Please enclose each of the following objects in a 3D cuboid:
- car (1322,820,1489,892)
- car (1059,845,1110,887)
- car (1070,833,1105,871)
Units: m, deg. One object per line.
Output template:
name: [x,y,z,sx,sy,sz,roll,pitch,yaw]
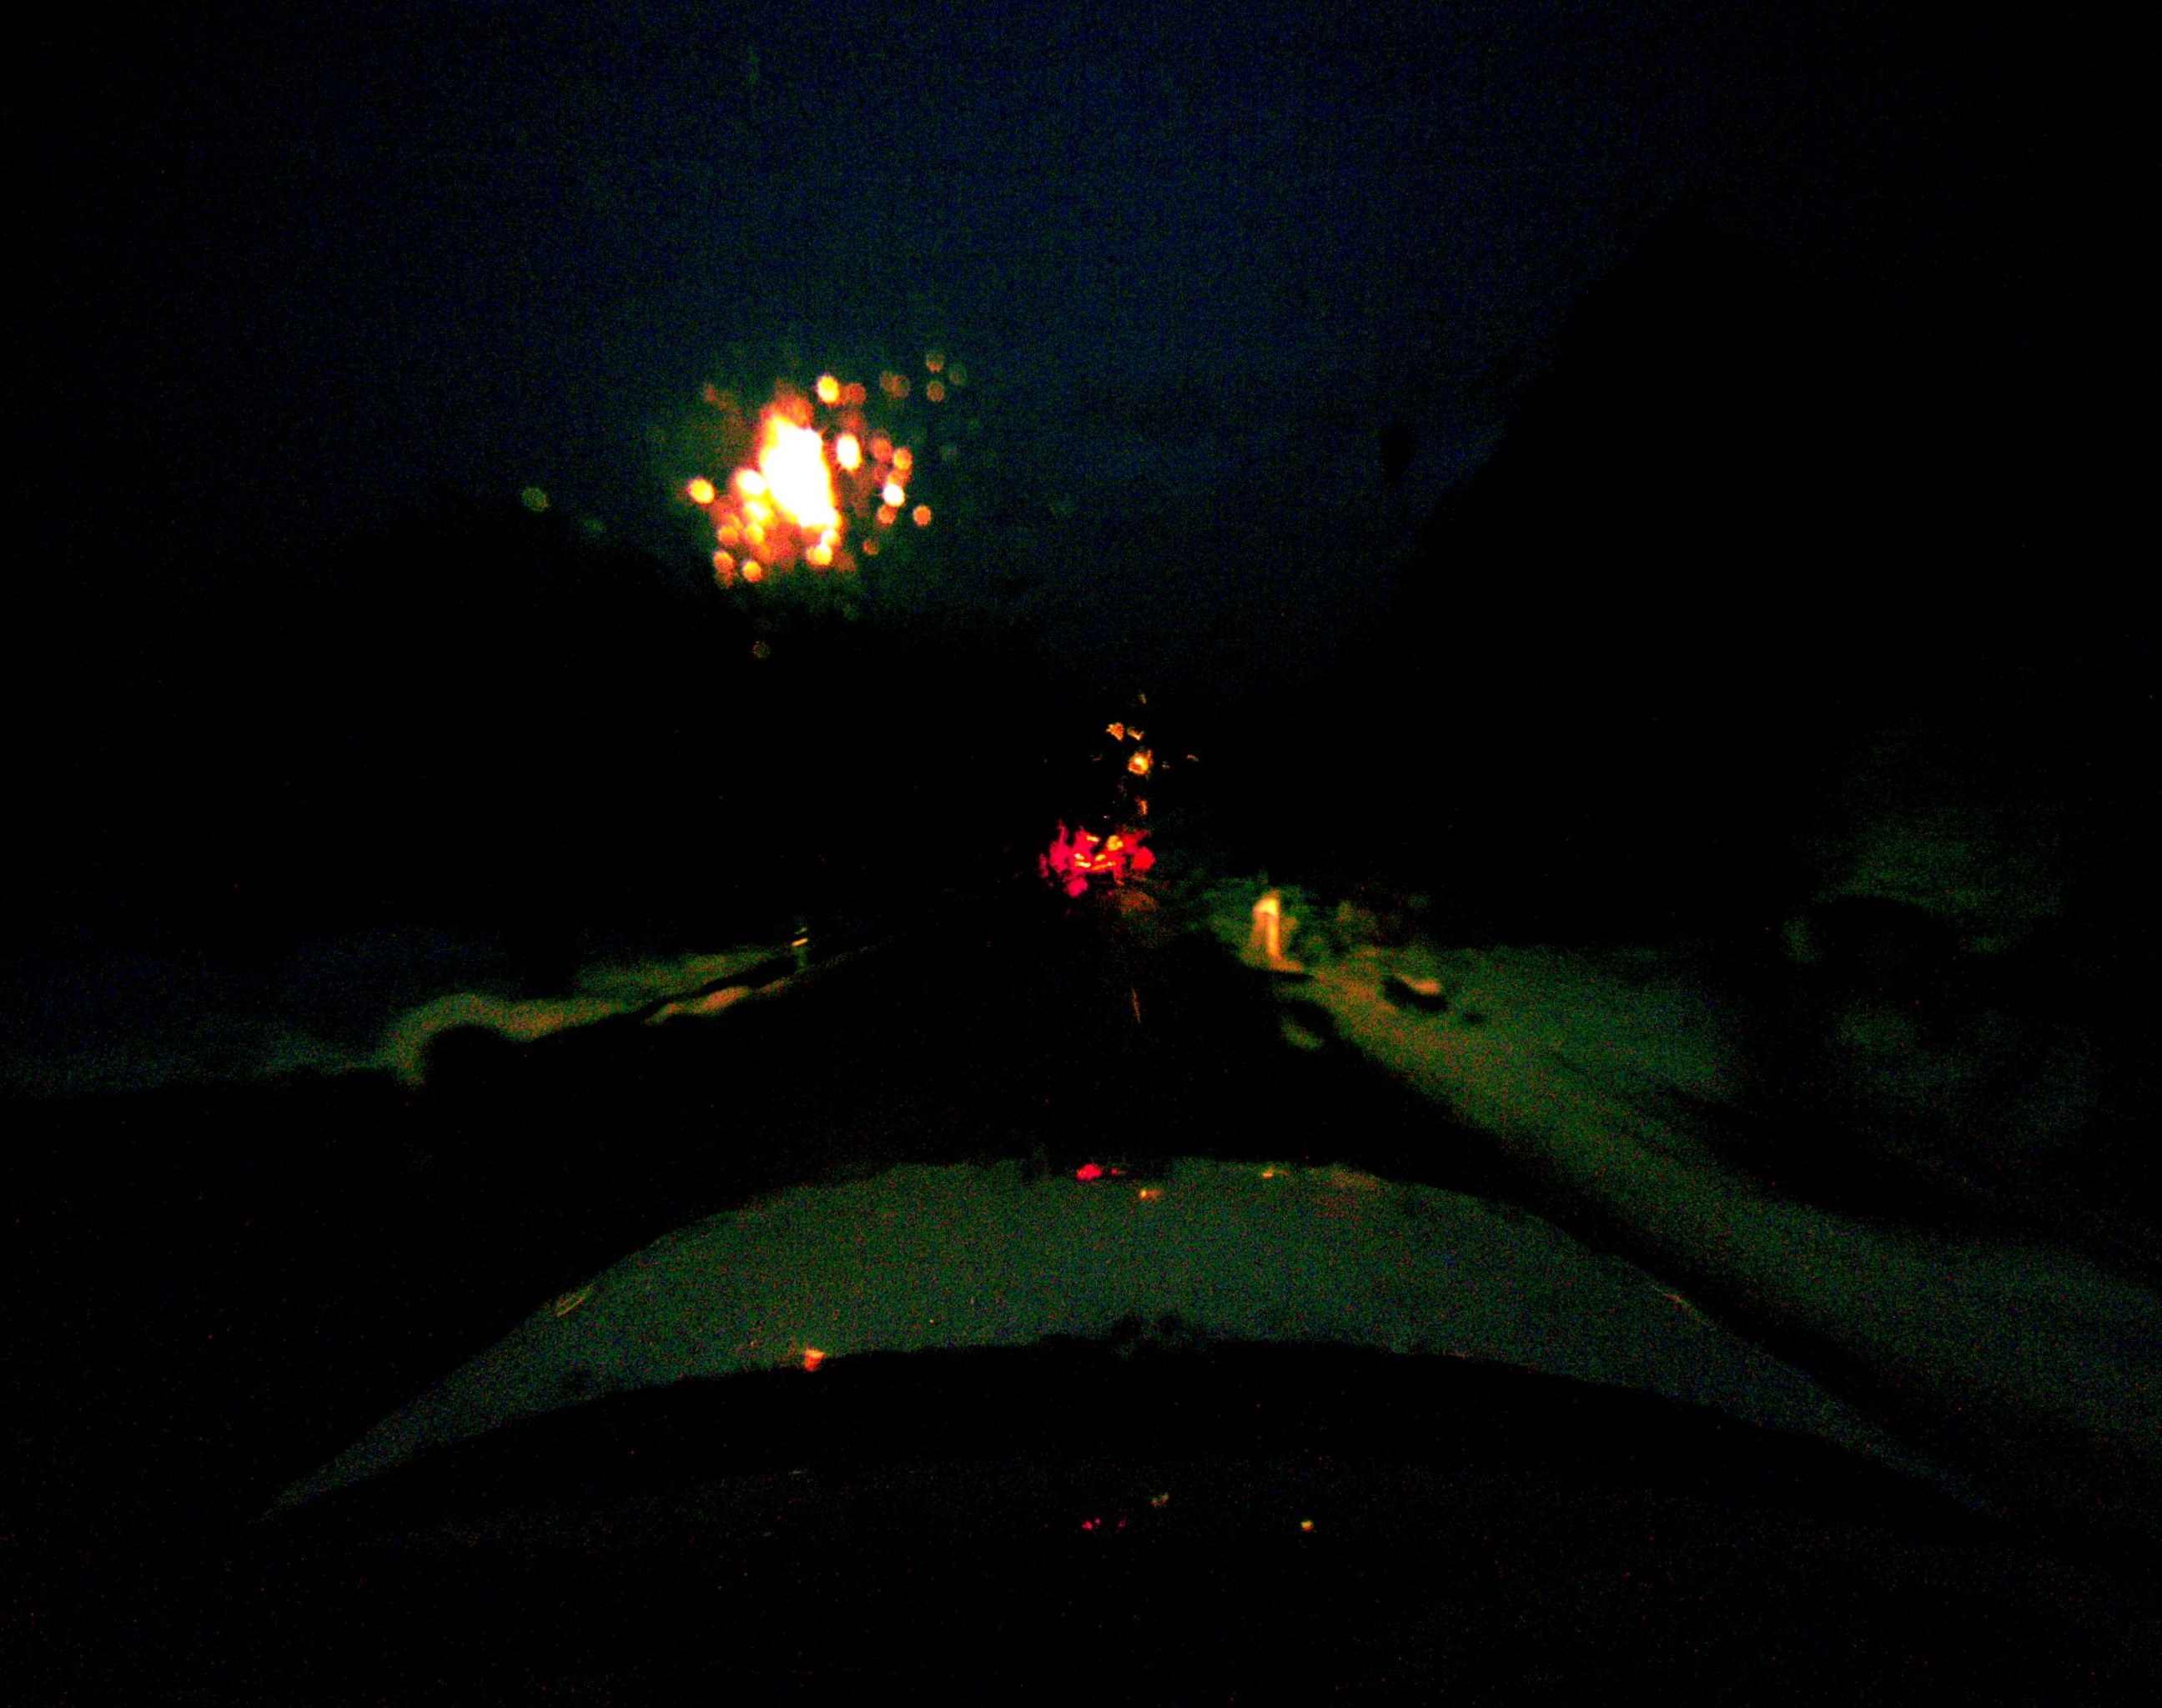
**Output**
car: [9.976,0.043,25.329,4.371,1.656,1.867,-7,0,8]
car: [0.217,0.539,39.861,2.266,1.840,5.008,-2,0,1]
car: [0.587,-0.129,69.102,2.423,3.019,5.332,-2,-1,5]
